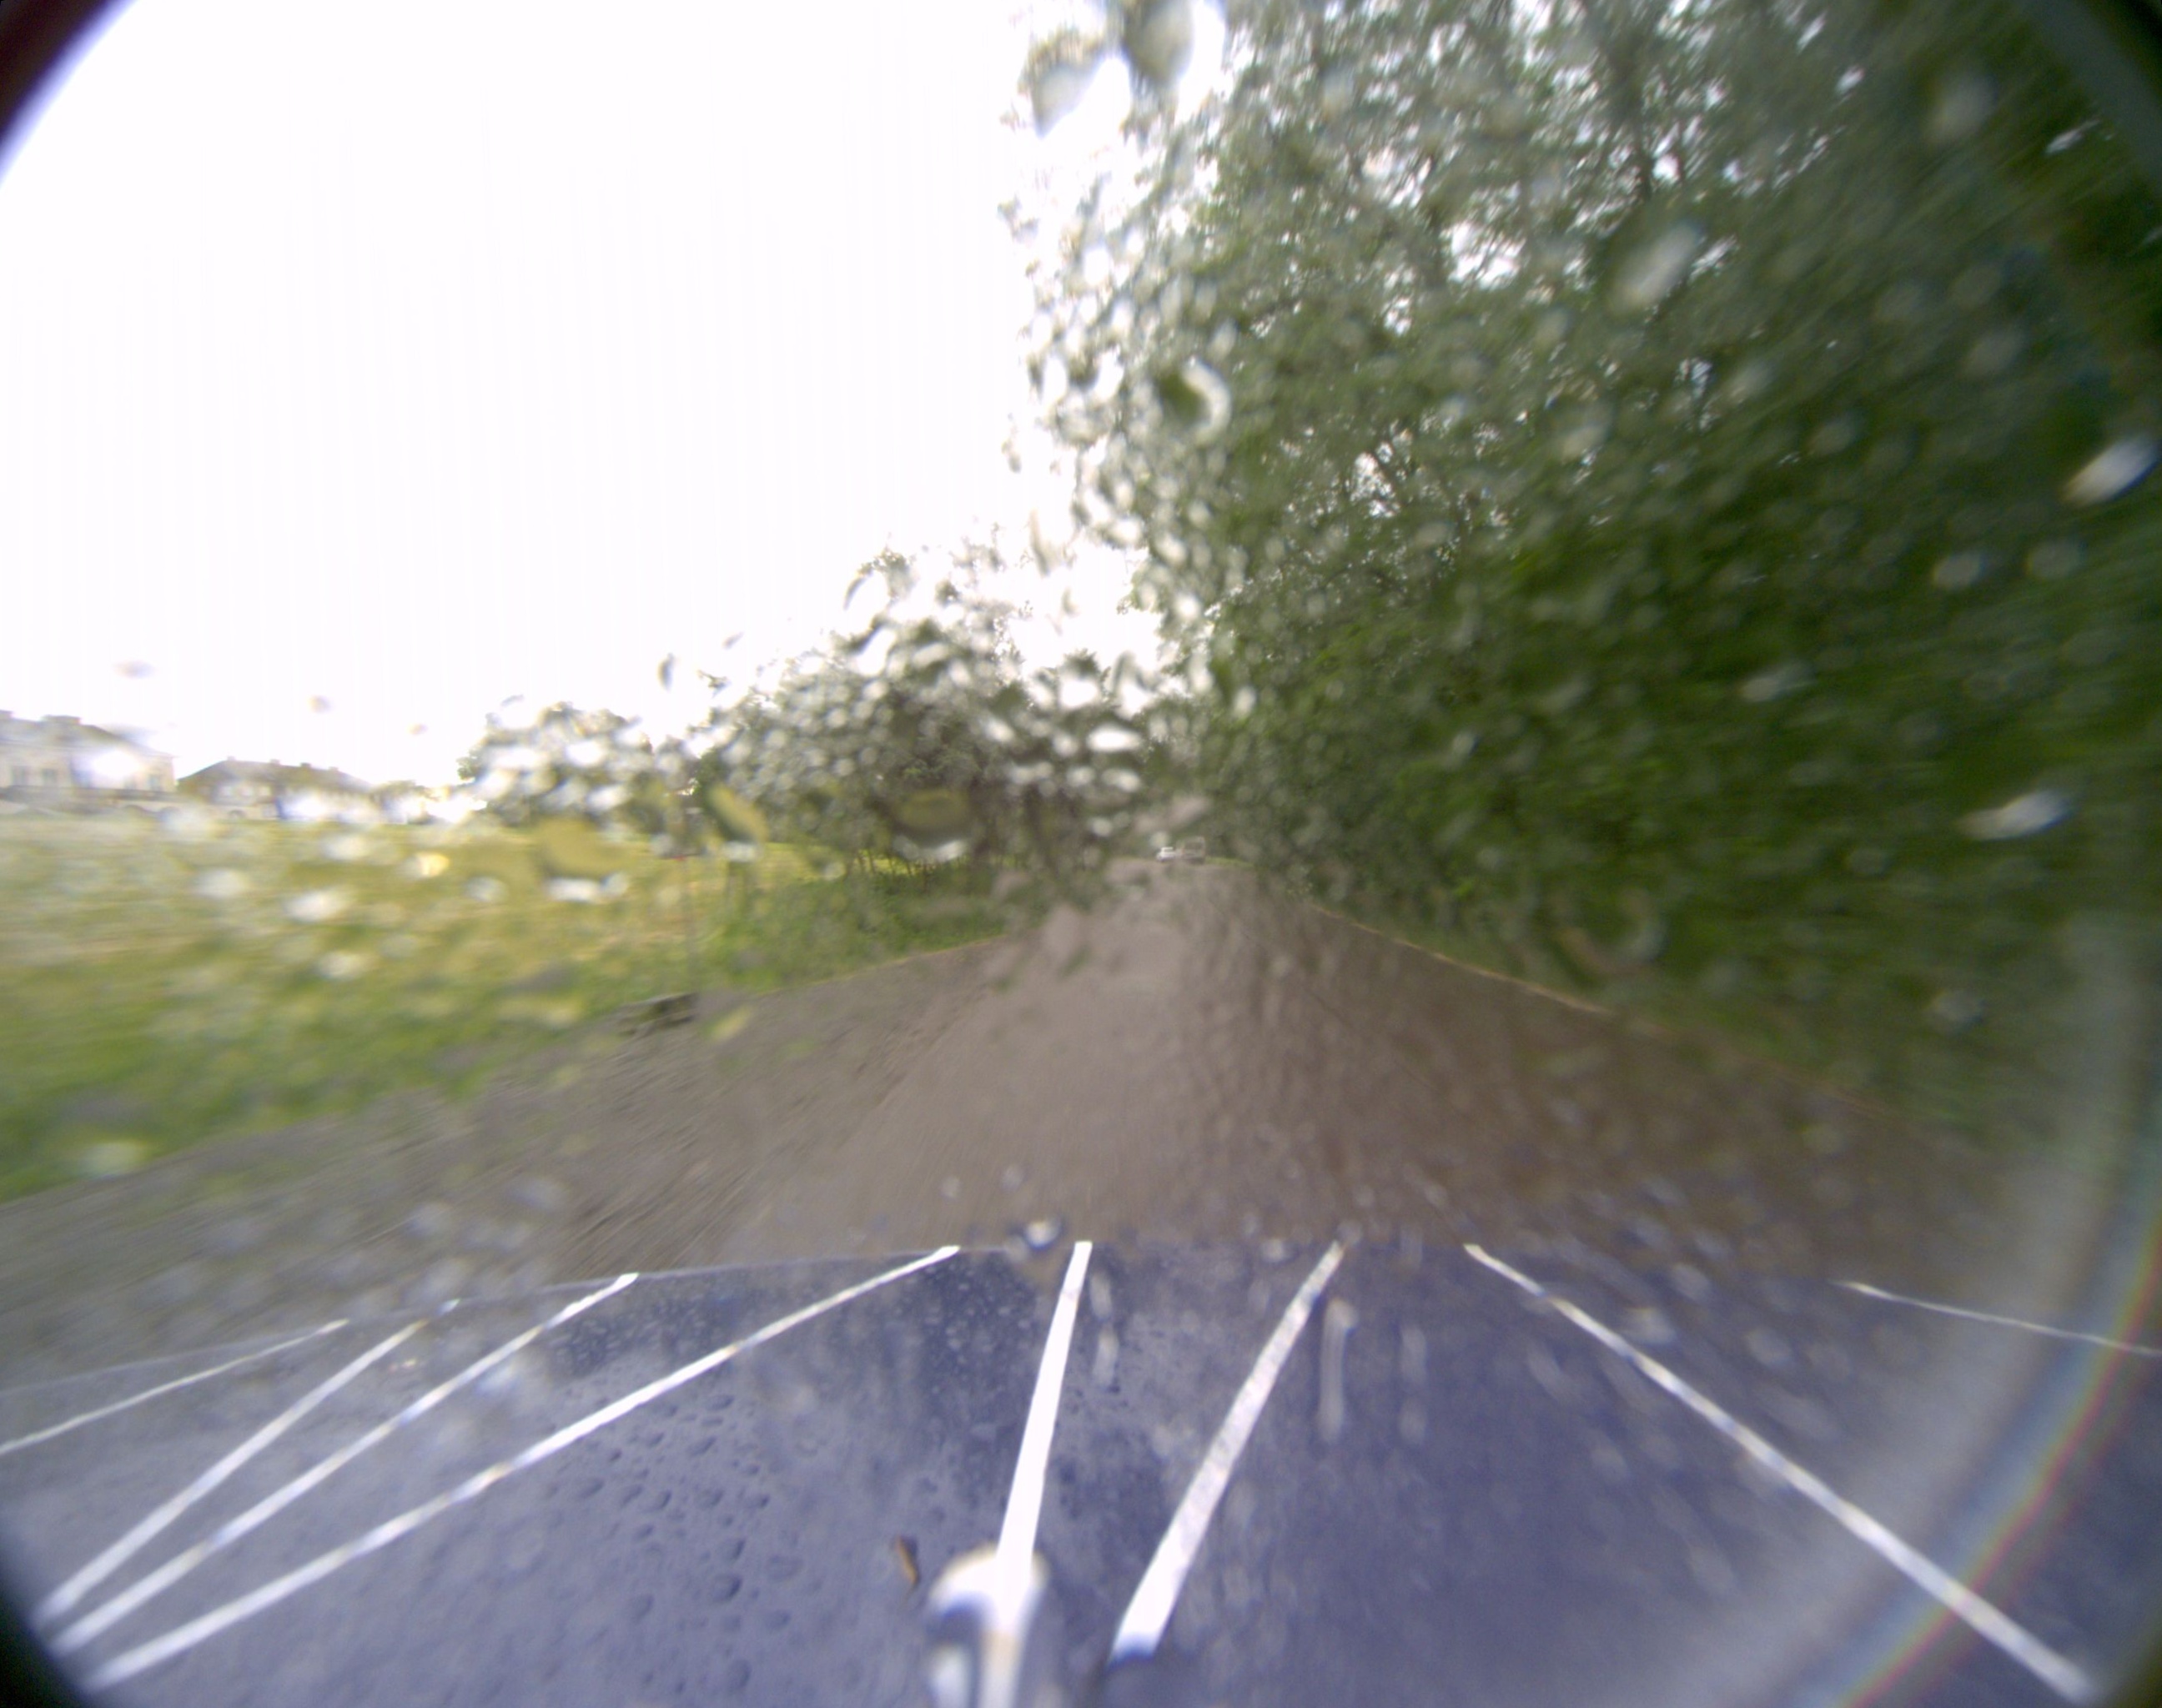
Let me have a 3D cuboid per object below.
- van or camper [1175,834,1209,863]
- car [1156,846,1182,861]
[{"bbox_3d":[10.098,-0.513,69.486,2.202,2.501,4.835,0,0,-2],"label":"van or camper"},{"bbox_3d":[9.206,-0.064,79.712,2.104,1.571,4.556,0,0,-2],"label":"car"}]
